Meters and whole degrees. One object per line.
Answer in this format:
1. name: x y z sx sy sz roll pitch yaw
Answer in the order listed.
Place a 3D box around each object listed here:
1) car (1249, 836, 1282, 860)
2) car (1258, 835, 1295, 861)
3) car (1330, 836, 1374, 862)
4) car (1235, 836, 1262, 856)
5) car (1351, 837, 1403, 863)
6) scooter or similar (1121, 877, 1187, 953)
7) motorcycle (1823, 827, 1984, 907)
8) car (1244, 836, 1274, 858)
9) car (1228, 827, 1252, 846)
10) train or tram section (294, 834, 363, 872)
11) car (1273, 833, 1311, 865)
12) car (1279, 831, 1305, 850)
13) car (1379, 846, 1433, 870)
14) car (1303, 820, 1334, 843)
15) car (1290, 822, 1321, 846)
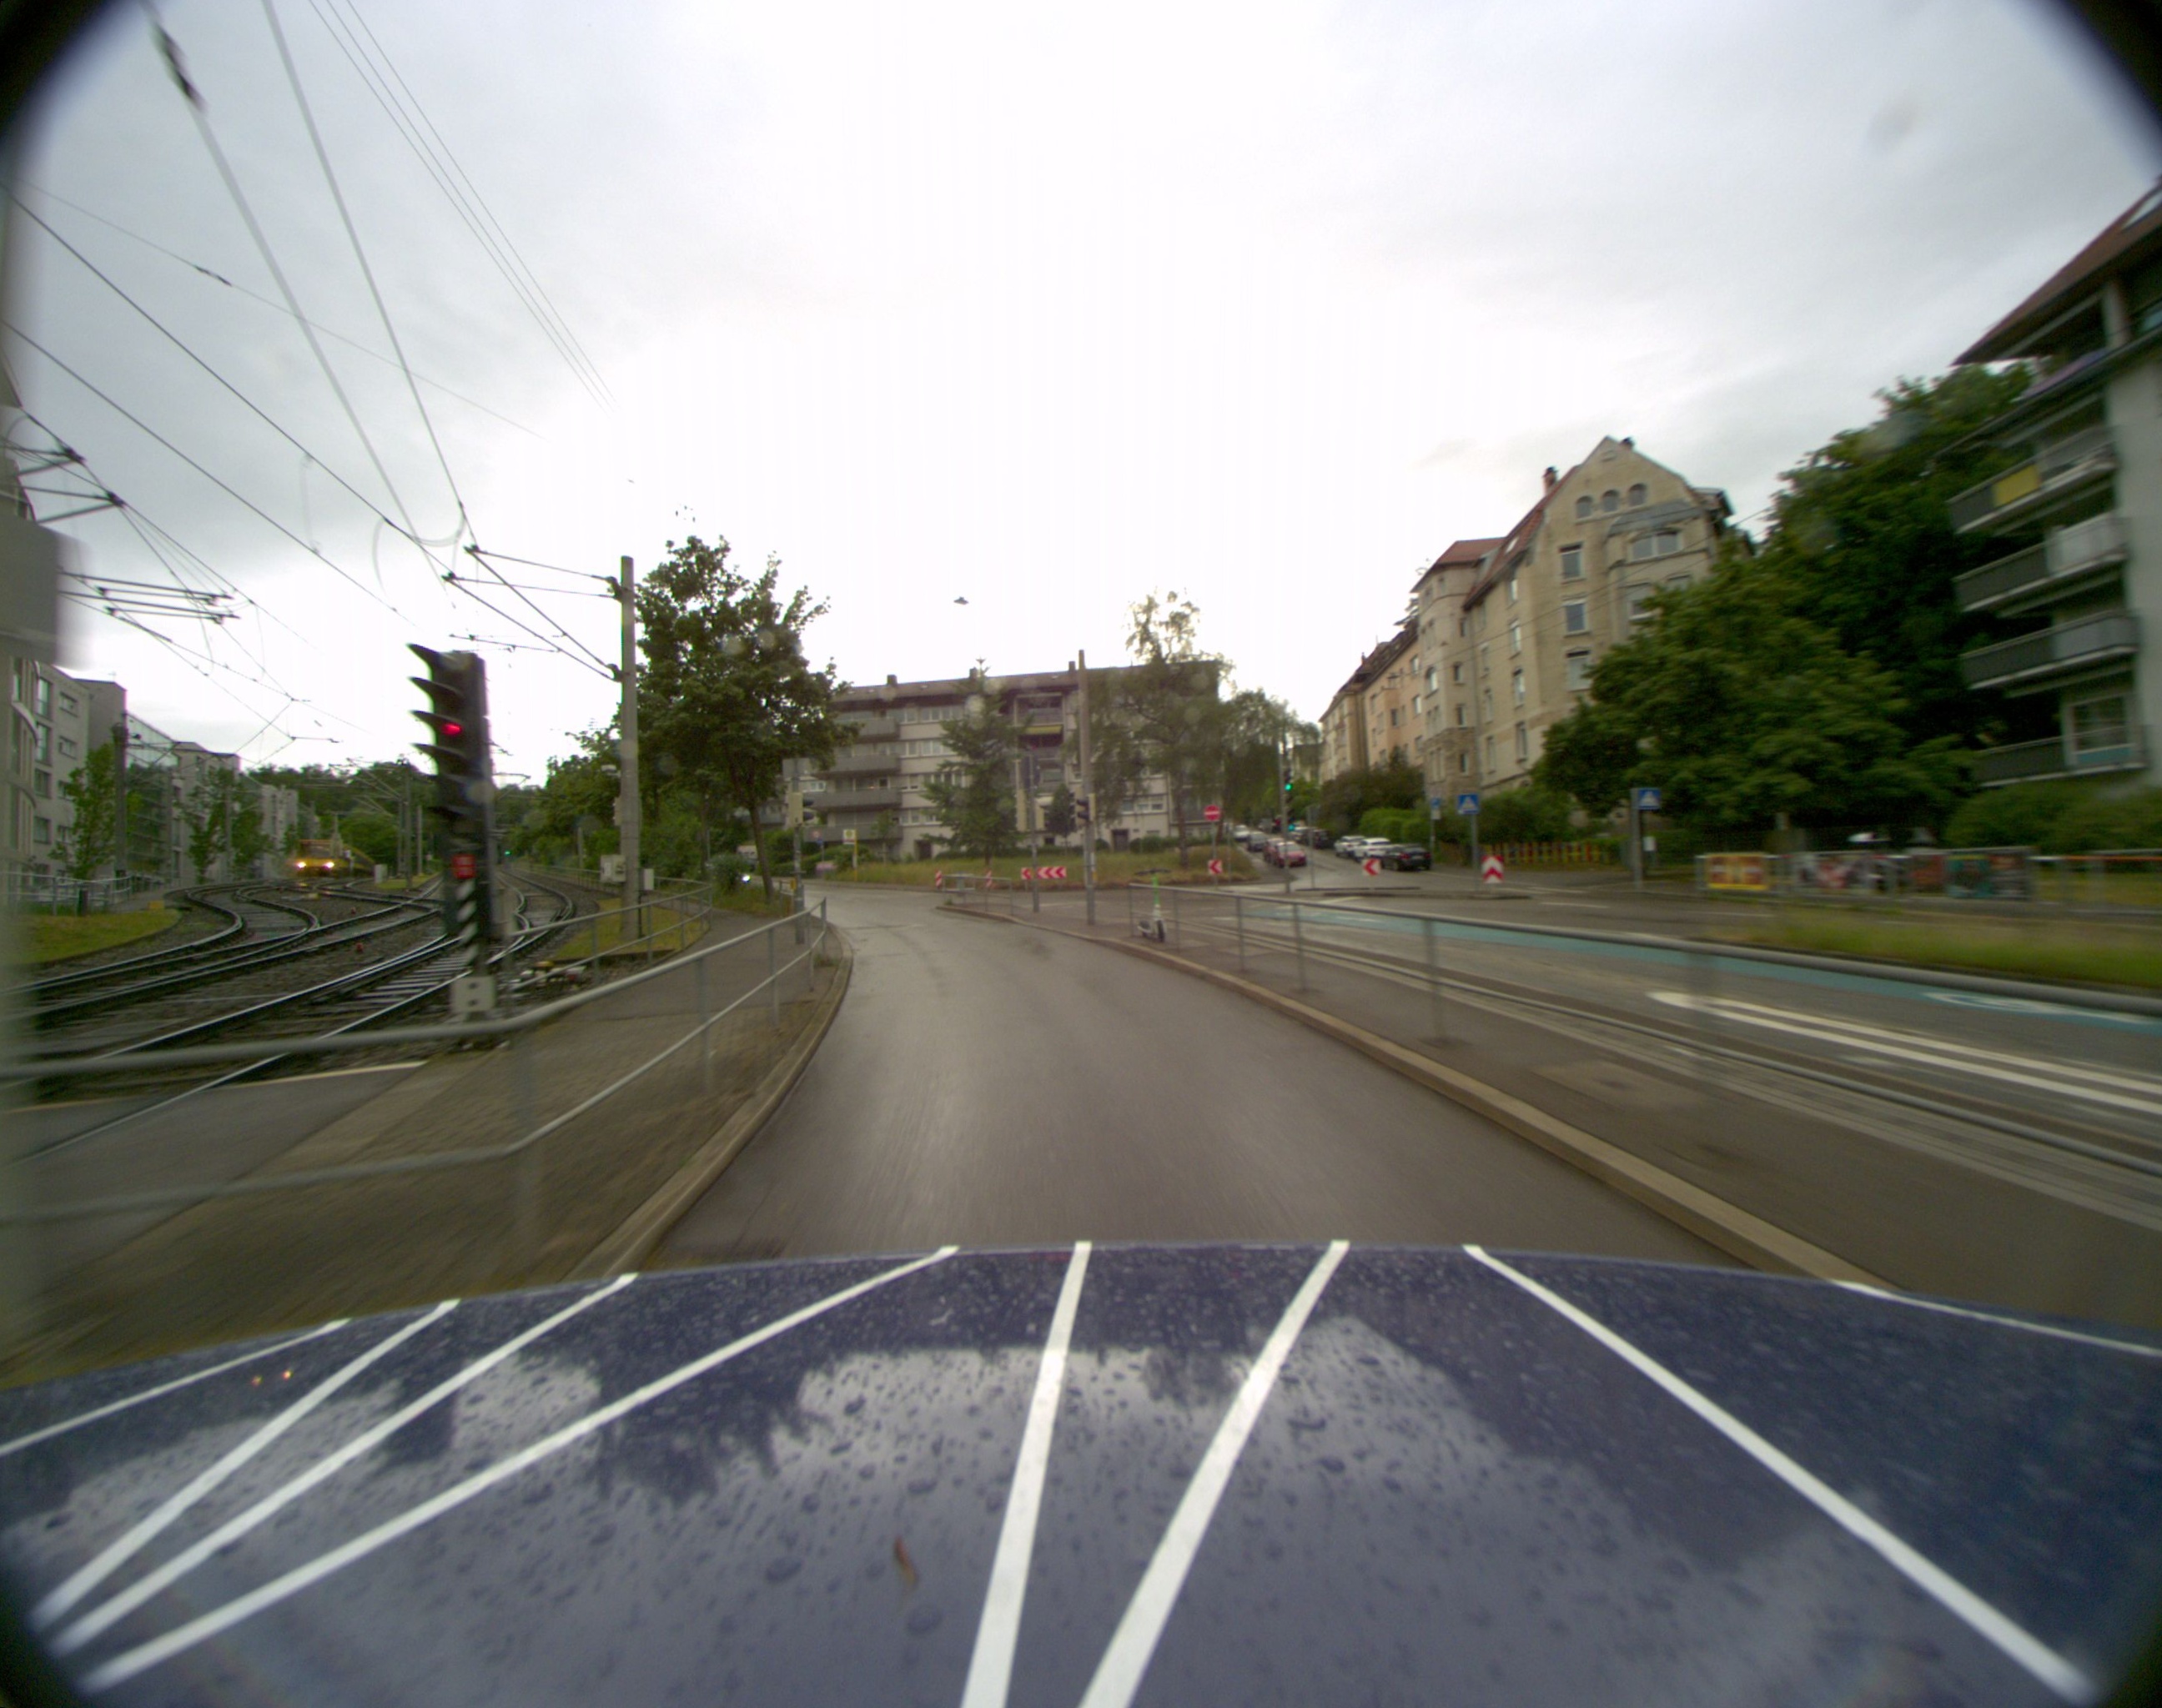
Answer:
1. car: 14.866 -0.516 61.388 1.804 1.824 4.284 -1 1 3
2. car: 14.263 -0.457 55.732 1.804 1.824 4.284 -1 1 3
3. car: 19.420 -0.356 54.574 1.804 1.824 4.285 0 0 3
4. car: 16.102 -0.764 73.272 1.804 1.824 4.284 -1 1 3
5. car: 18.984 -0.277 48.929 1.997 1.584 4.358 -1 1 6
6. scooter or similar: 1.171 0.963 12.509 0.435 1.107 1.602 -3 1 -18
7. motorcycle: 17.590 0.244 16.364 0.699 1.541 2.440 -5 1 -1
8. car: 15.467 -0.634 66.329 1.804 1.824 4.284 -1 1 3
9. car: 16.557 -1.811 79.418 1.804 1.824 4.284 -1 1 3
10. train or tram section: -75.121 -0.094 76.160 3.213 3.540 14.462 0 0 -38
11. car: 13.991 -0.329 50.540 1.997 2.002 4.003 -1 0 9
12. car: 20.902 -1.321 75.357 1.679 1.824 3.666 -1 1 3
13. car: 17.871 0.196 41.988 1.751 1.216 4.359 -1 1 9
14. car: 20.303 -1.894 64.989 1.679 1.824 3.666 -1 1 3
15. car: 20.329 -1.780 68.869 1.997 2.002 4.001 -1 1 6
